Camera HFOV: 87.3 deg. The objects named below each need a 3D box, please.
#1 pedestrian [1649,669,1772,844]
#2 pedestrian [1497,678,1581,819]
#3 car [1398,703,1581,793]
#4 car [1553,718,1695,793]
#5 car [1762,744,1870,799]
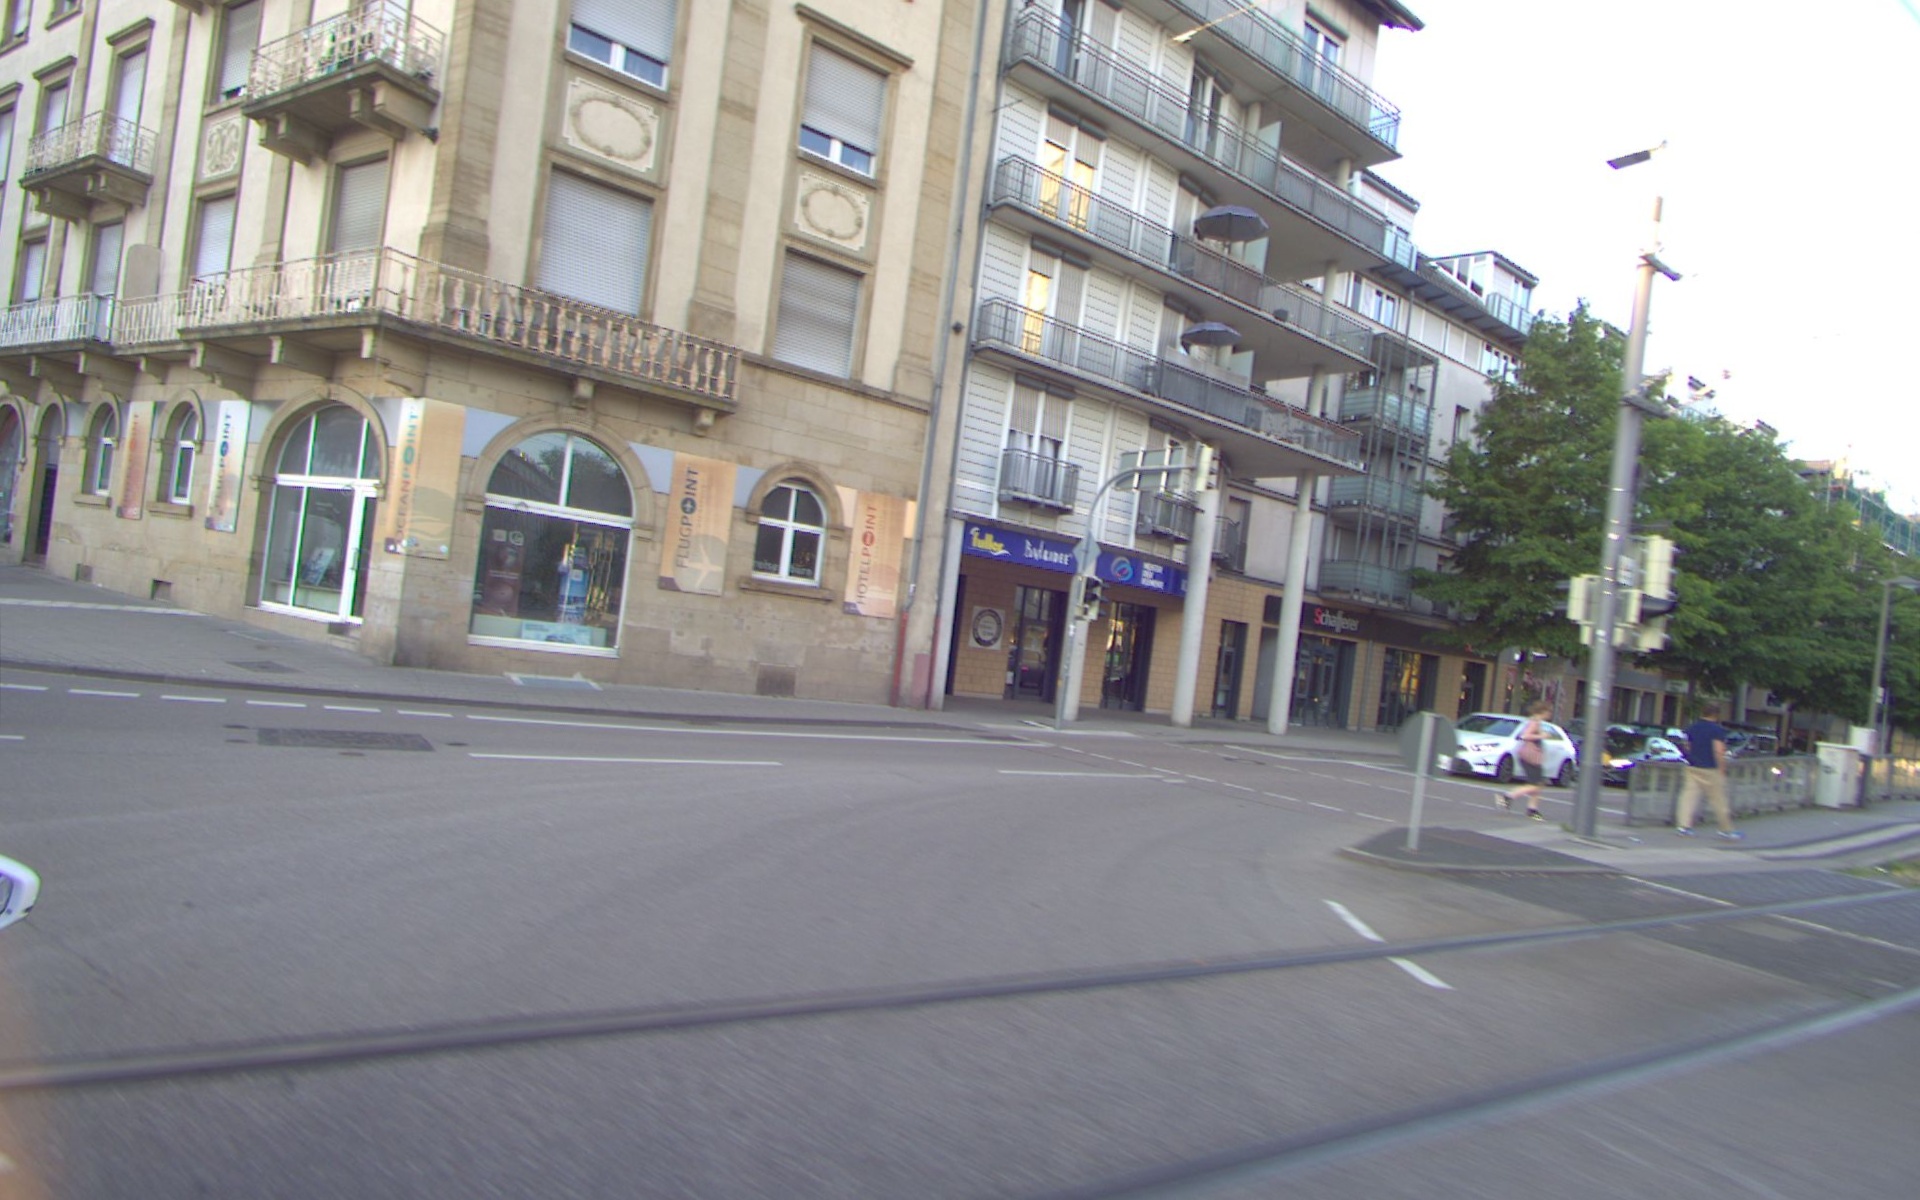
[{"bbox_3d":[10.350,2.129,13.900,0.855,2.234,0.821,7,-1,-3],"label":"pedestrian"},{"bbox_3d":[7.879,2.016,13.694,0.781,1.799,0.539,8,-2,-32],"label":"pedestrian"},{"bbox_3d":[11.780,3.305,22.318,3.963,1.503,1.834,9,-3,-33],"label":"car"},{"bbox_3d":[17.366,4.078,26.240,3.969,1.502,1.831,9,-3,-38],"label":"car"},{"bbox_3d":[30.422,6.100,35.721,3.963,1.503,1.834,9,-3,-33],"label":"car"}]
